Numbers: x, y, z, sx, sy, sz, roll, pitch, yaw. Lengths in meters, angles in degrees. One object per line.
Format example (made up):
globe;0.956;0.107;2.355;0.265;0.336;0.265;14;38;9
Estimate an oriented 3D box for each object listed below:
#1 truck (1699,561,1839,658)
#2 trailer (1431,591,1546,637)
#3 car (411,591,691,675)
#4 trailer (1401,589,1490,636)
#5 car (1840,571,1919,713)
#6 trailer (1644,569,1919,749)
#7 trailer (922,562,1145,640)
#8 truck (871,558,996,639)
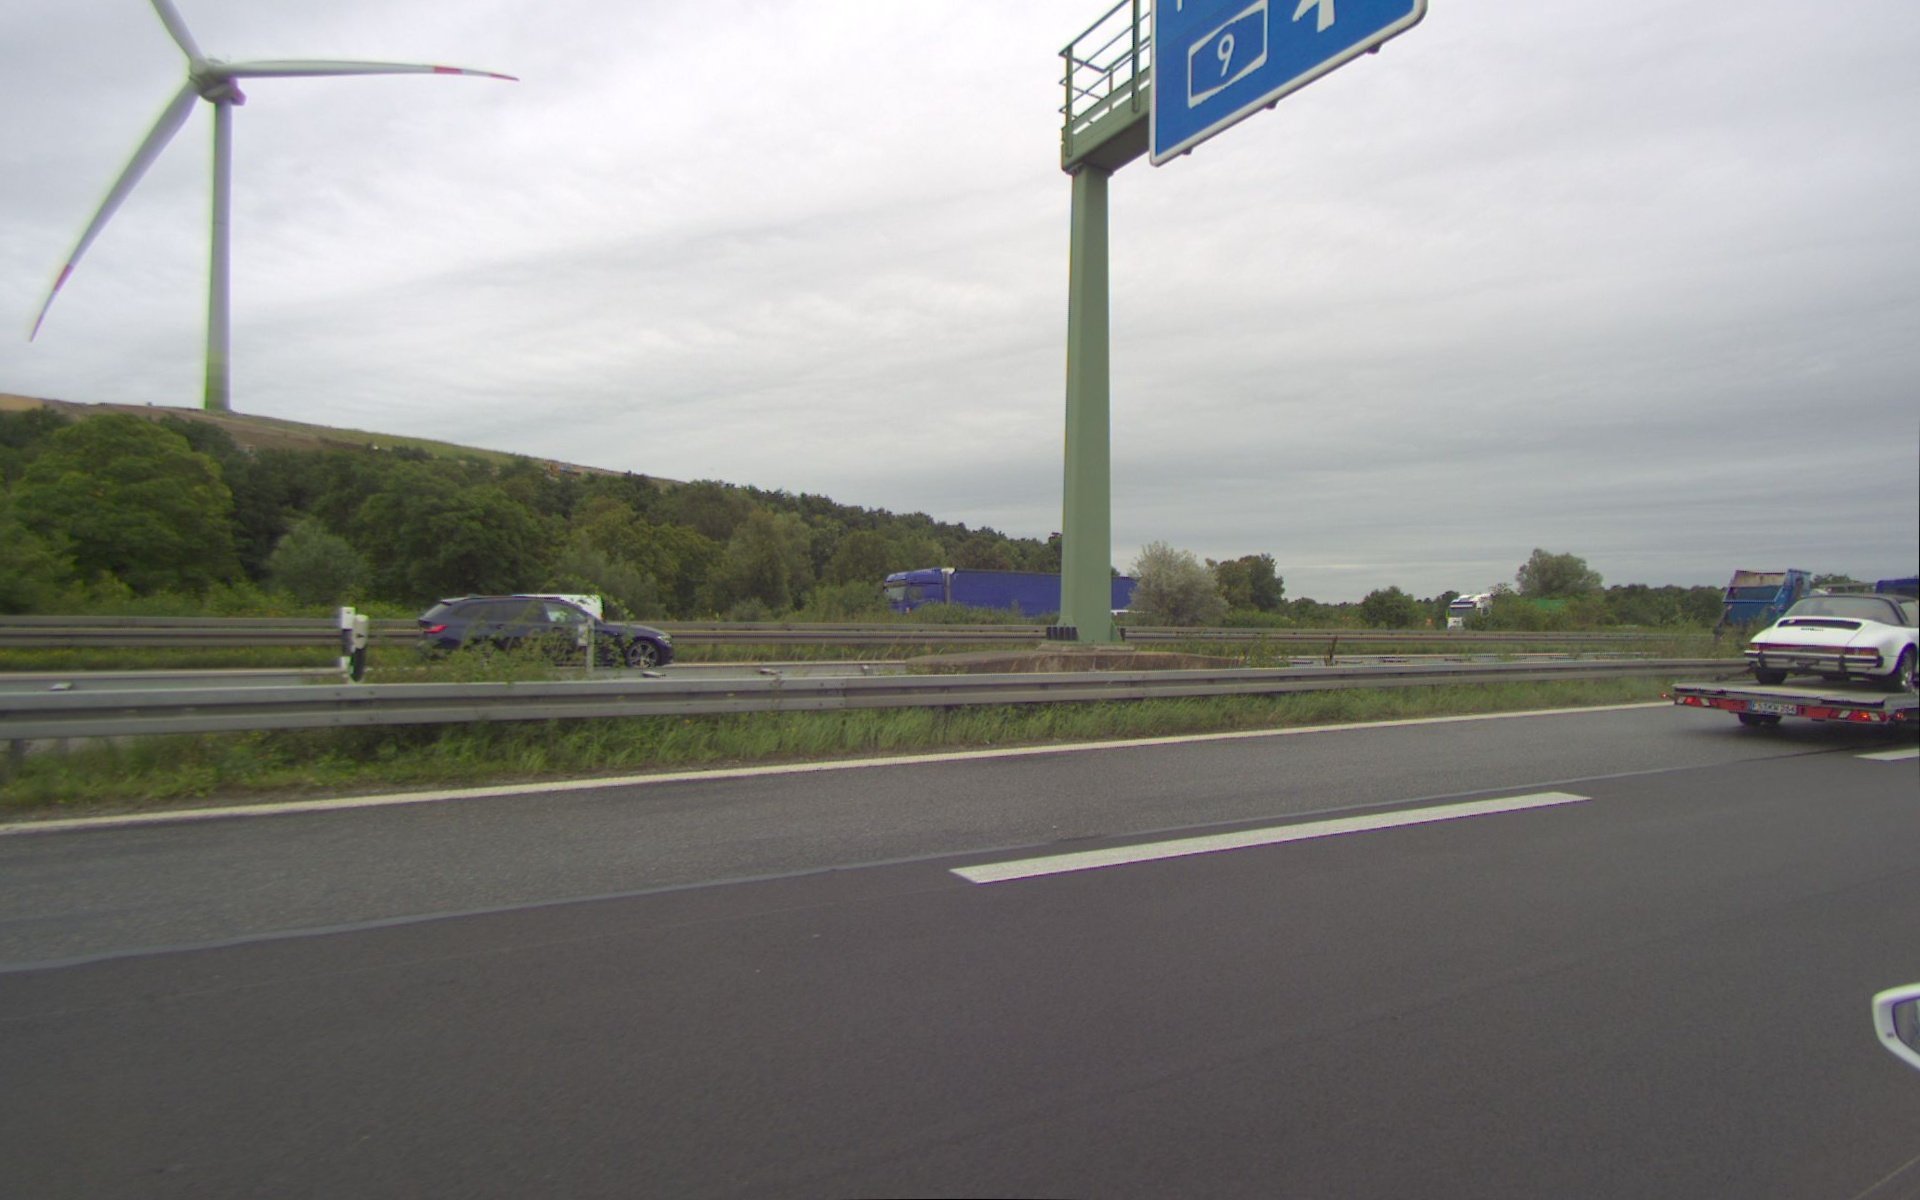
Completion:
truck;34.690;0.462;43.001;7.269;3.863;2.621;2;0;-34
trailer;42.528;1.156;80.624;11.680;3.448;2.941;1;0;-34
car;-7.796;0.634;19.341;4.726;1.410;1.792;2;0;-34
trailer;37.340;0.973;77.173;7.196;3.448;2.941;1;0;-34
car;18.218;0.751;17.739;6.188;2.297;2.359;2;0;-33
trailer;12.709;0.722;14.186;6.986;2.021;2.471;2;0;-33
trailer;4.357;0.175;56.129;13.382;3.978;2.942;1;0;-33
truck;-1.363;-0.039;52.369;5.835;3.978;2.942;1;0;-33
